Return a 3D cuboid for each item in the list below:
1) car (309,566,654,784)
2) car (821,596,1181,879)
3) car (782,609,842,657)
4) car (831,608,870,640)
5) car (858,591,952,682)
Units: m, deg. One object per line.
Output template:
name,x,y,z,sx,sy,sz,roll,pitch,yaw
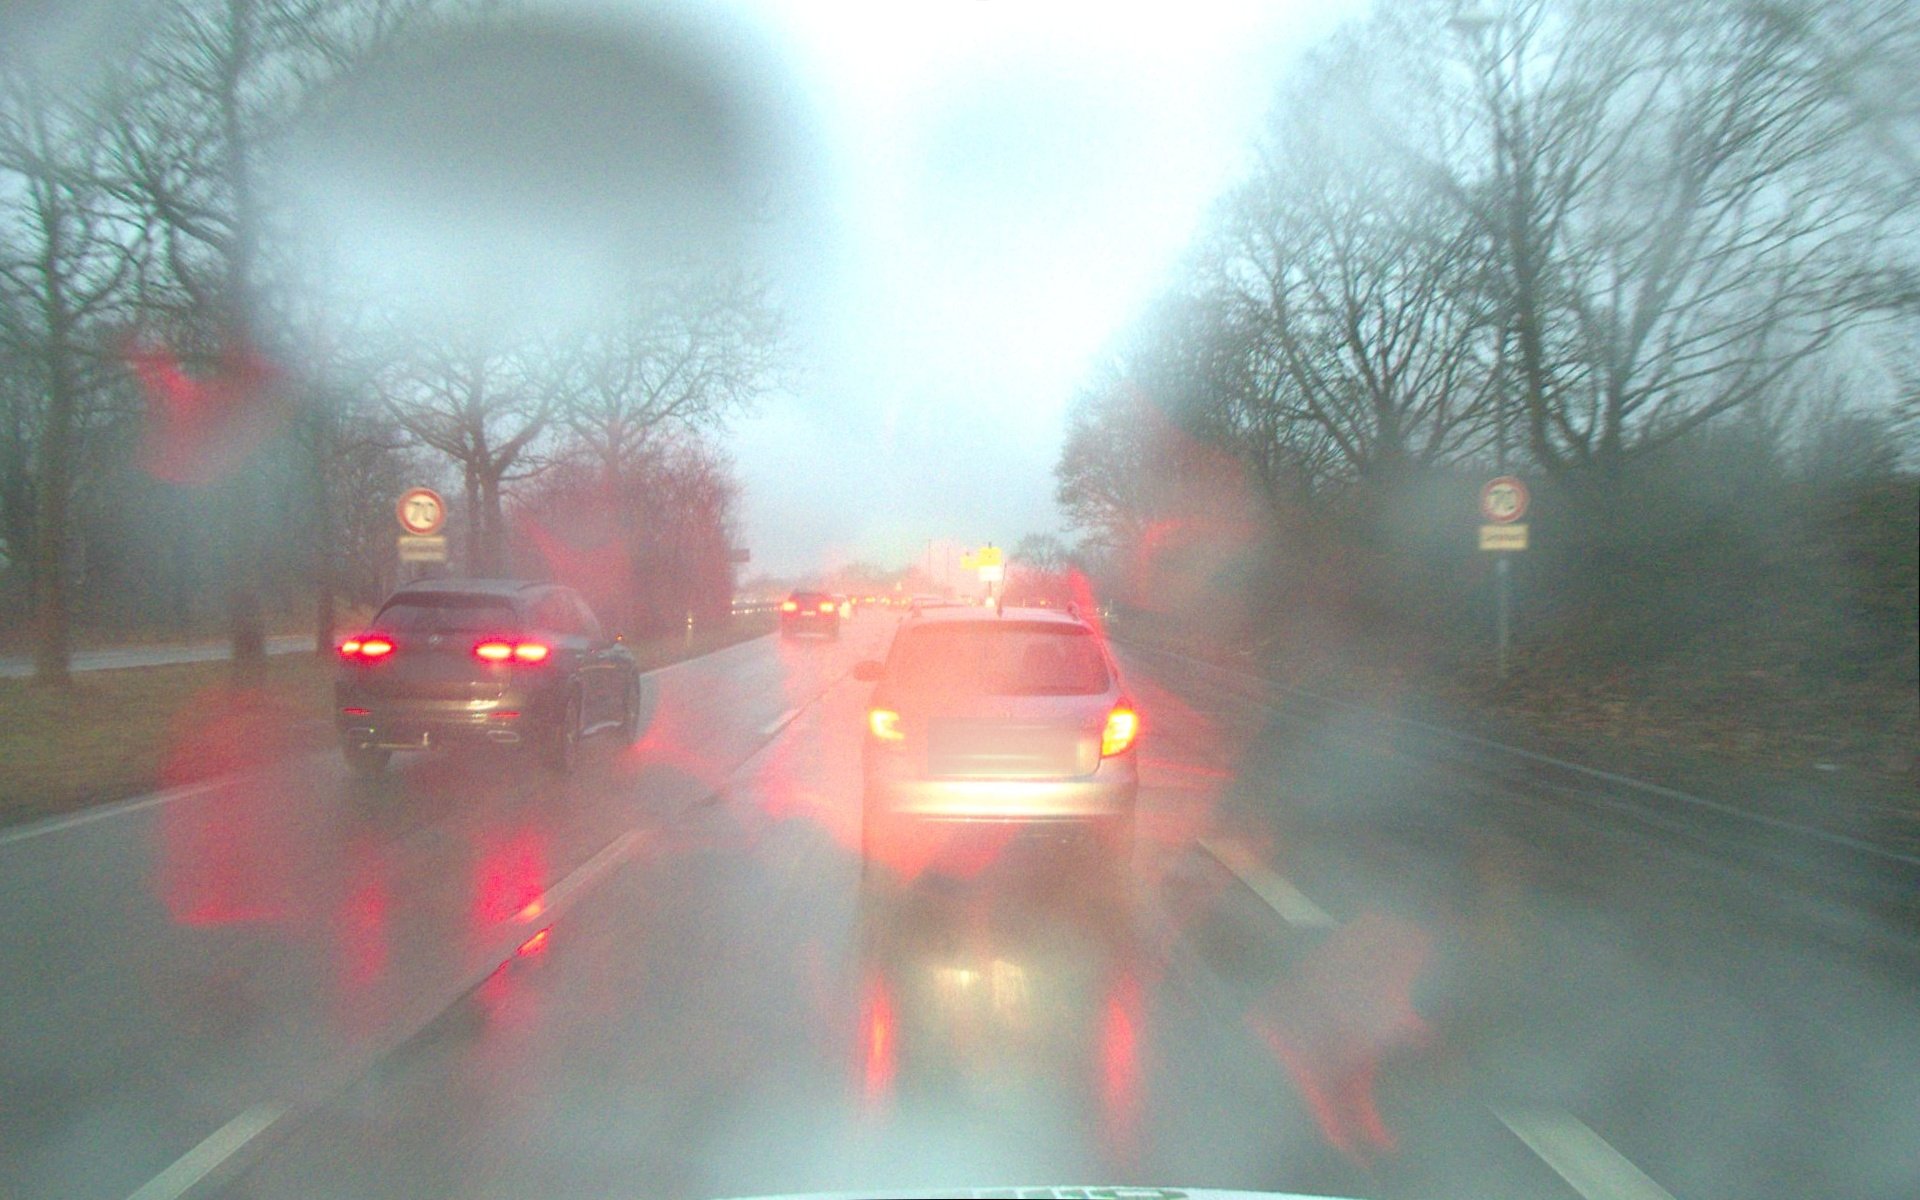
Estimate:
car,-4.089,0.585,14.924,1.953,1.629,4.306,2,0,-2
car,0.205,0.766,11.081,1.953,1.527,4.137,0,-1,-1
car,-5.060,1.092,56.859,1.753,1.572,3.999,-1,0,-1
car,-5.512,1.184,83.839,1.753,1.572,3.999,-1,0,-1
car,-1.113,0.741,35.050,1.859,1.798,4.308,0,0,-1
